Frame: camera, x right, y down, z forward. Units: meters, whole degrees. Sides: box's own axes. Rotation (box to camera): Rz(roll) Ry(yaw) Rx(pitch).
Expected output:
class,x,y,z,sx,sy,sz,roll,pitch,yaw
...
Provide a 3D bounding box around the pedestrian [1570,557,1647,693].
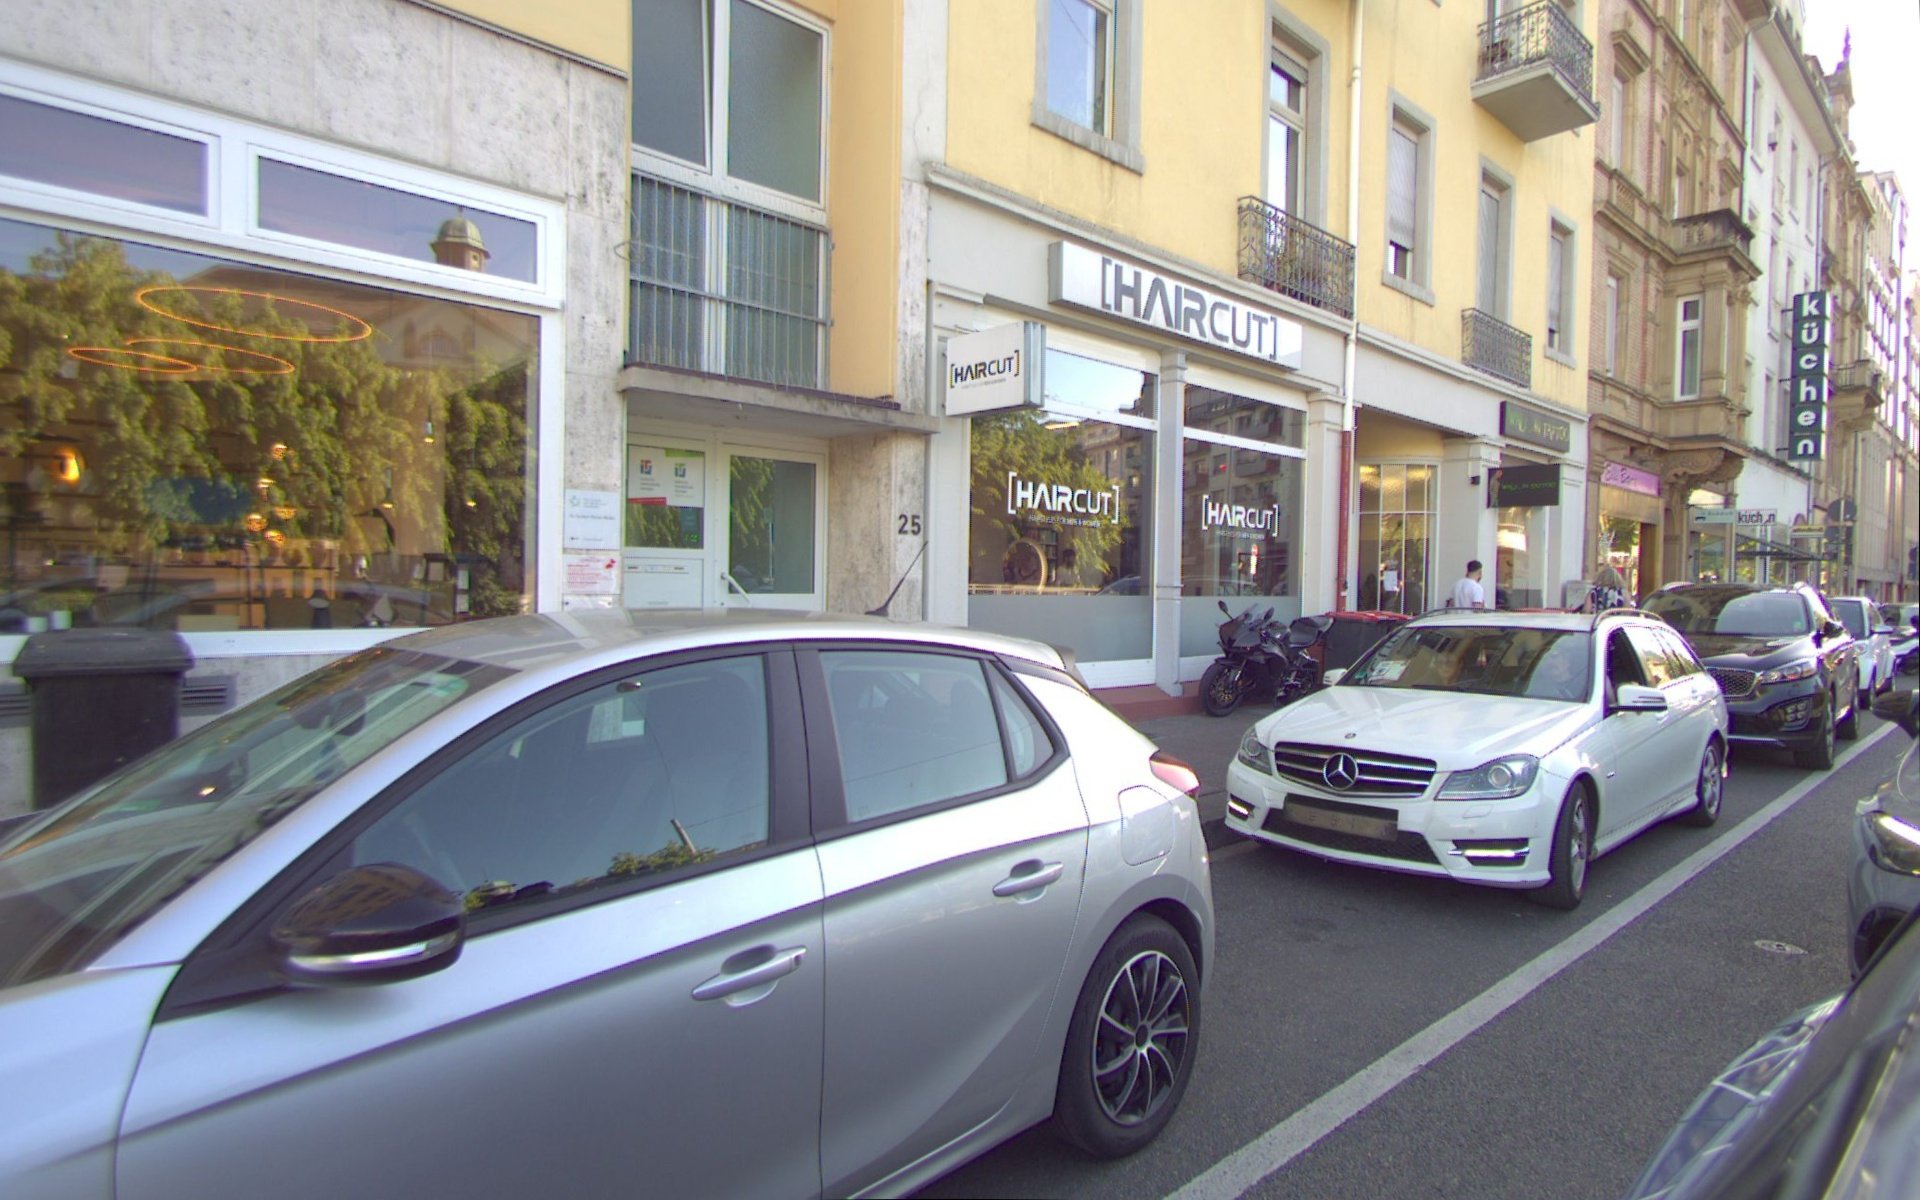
class,x,y,z,sx,sy,sz,roll,pitch,yaw
pedestrian,8.212,0.296,12.840,0.711,1.674,0.601,1,0,23

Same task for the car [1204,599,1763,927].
class,x,y,z,sx,sy,sz,roll,pitch,yaw
car,3.546,0.703,6.447,4.302,1.376,1.703,-1,0,-41

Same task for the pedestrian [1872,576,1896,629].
class,x,y,z,sx,sy,sz,roll,pitch,yaw
pedestrian,33.543,0.084,36.746,0.653,1.874,0.574,0,0,-40

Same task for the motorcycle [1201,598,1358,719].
class,x,y,z,sx,sy,sz,roll,pitch,yaw
motorcycle,3.312,0.550,10.400,1.920,1.091,0.567,-1,4,-41

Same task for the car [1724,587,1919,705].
class,x,y,z,sx,sy,sz,roll,pitch,yaw
car,13.152,0.584,15.345,4.016,1.546,1.800,-1,0,-42

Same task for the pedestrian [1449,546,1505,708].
class,x,y,z,sx,sy,sz,roll,pitch,yaw
pedestrian,6.588,0.325,12.908,0.367,2.008,0.693,1,1,5

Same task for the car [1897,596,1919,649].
class,x,y,z,sx,sy,sz,roll,pitch,yaw
car,26.583,0.580,27.169,3.773,1.357,1.800,-1,1,-42

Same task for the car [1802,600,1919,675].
class,x,y,z,sx,sy,sz,roll,pitch,yaw
car,17.955,0.666,19.769,4.016,1.282,1.800,-1,1,-42

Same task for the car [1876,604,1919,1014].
class,x,y,z,sx,sy,sz,roll,pitch,yaw
car,5.247,0.709,4.216,3.933,1.376,1.800,-1,1,-43

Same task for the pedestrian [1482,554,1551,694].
class,x,y,z,sx,sy,sz,roll,pitch,yaw
pedestrian,7.658,0.318,13.933,0.565,1.874,0.664,0,0,-39

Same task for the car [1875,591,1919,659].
class,x,y,z,sx,sy,sz,roll,pitch,yaw
car,22.221,0.527,23.056,4.016,1.450,1.657,-1,0,-42

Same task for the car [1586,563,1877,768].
class,x,y,z,sx,sy,sz,roll,pitch,yaw
car,7.978,0.508,10.307,4.176,1.659,1.799,-1,0,-45

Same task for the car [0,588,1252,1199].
class,x,y,z,sx,sy,sz,roll,pitch,yaw
car,-1.000,0.701,2.288,3.597,1.445,1.549,-1,1,-42
